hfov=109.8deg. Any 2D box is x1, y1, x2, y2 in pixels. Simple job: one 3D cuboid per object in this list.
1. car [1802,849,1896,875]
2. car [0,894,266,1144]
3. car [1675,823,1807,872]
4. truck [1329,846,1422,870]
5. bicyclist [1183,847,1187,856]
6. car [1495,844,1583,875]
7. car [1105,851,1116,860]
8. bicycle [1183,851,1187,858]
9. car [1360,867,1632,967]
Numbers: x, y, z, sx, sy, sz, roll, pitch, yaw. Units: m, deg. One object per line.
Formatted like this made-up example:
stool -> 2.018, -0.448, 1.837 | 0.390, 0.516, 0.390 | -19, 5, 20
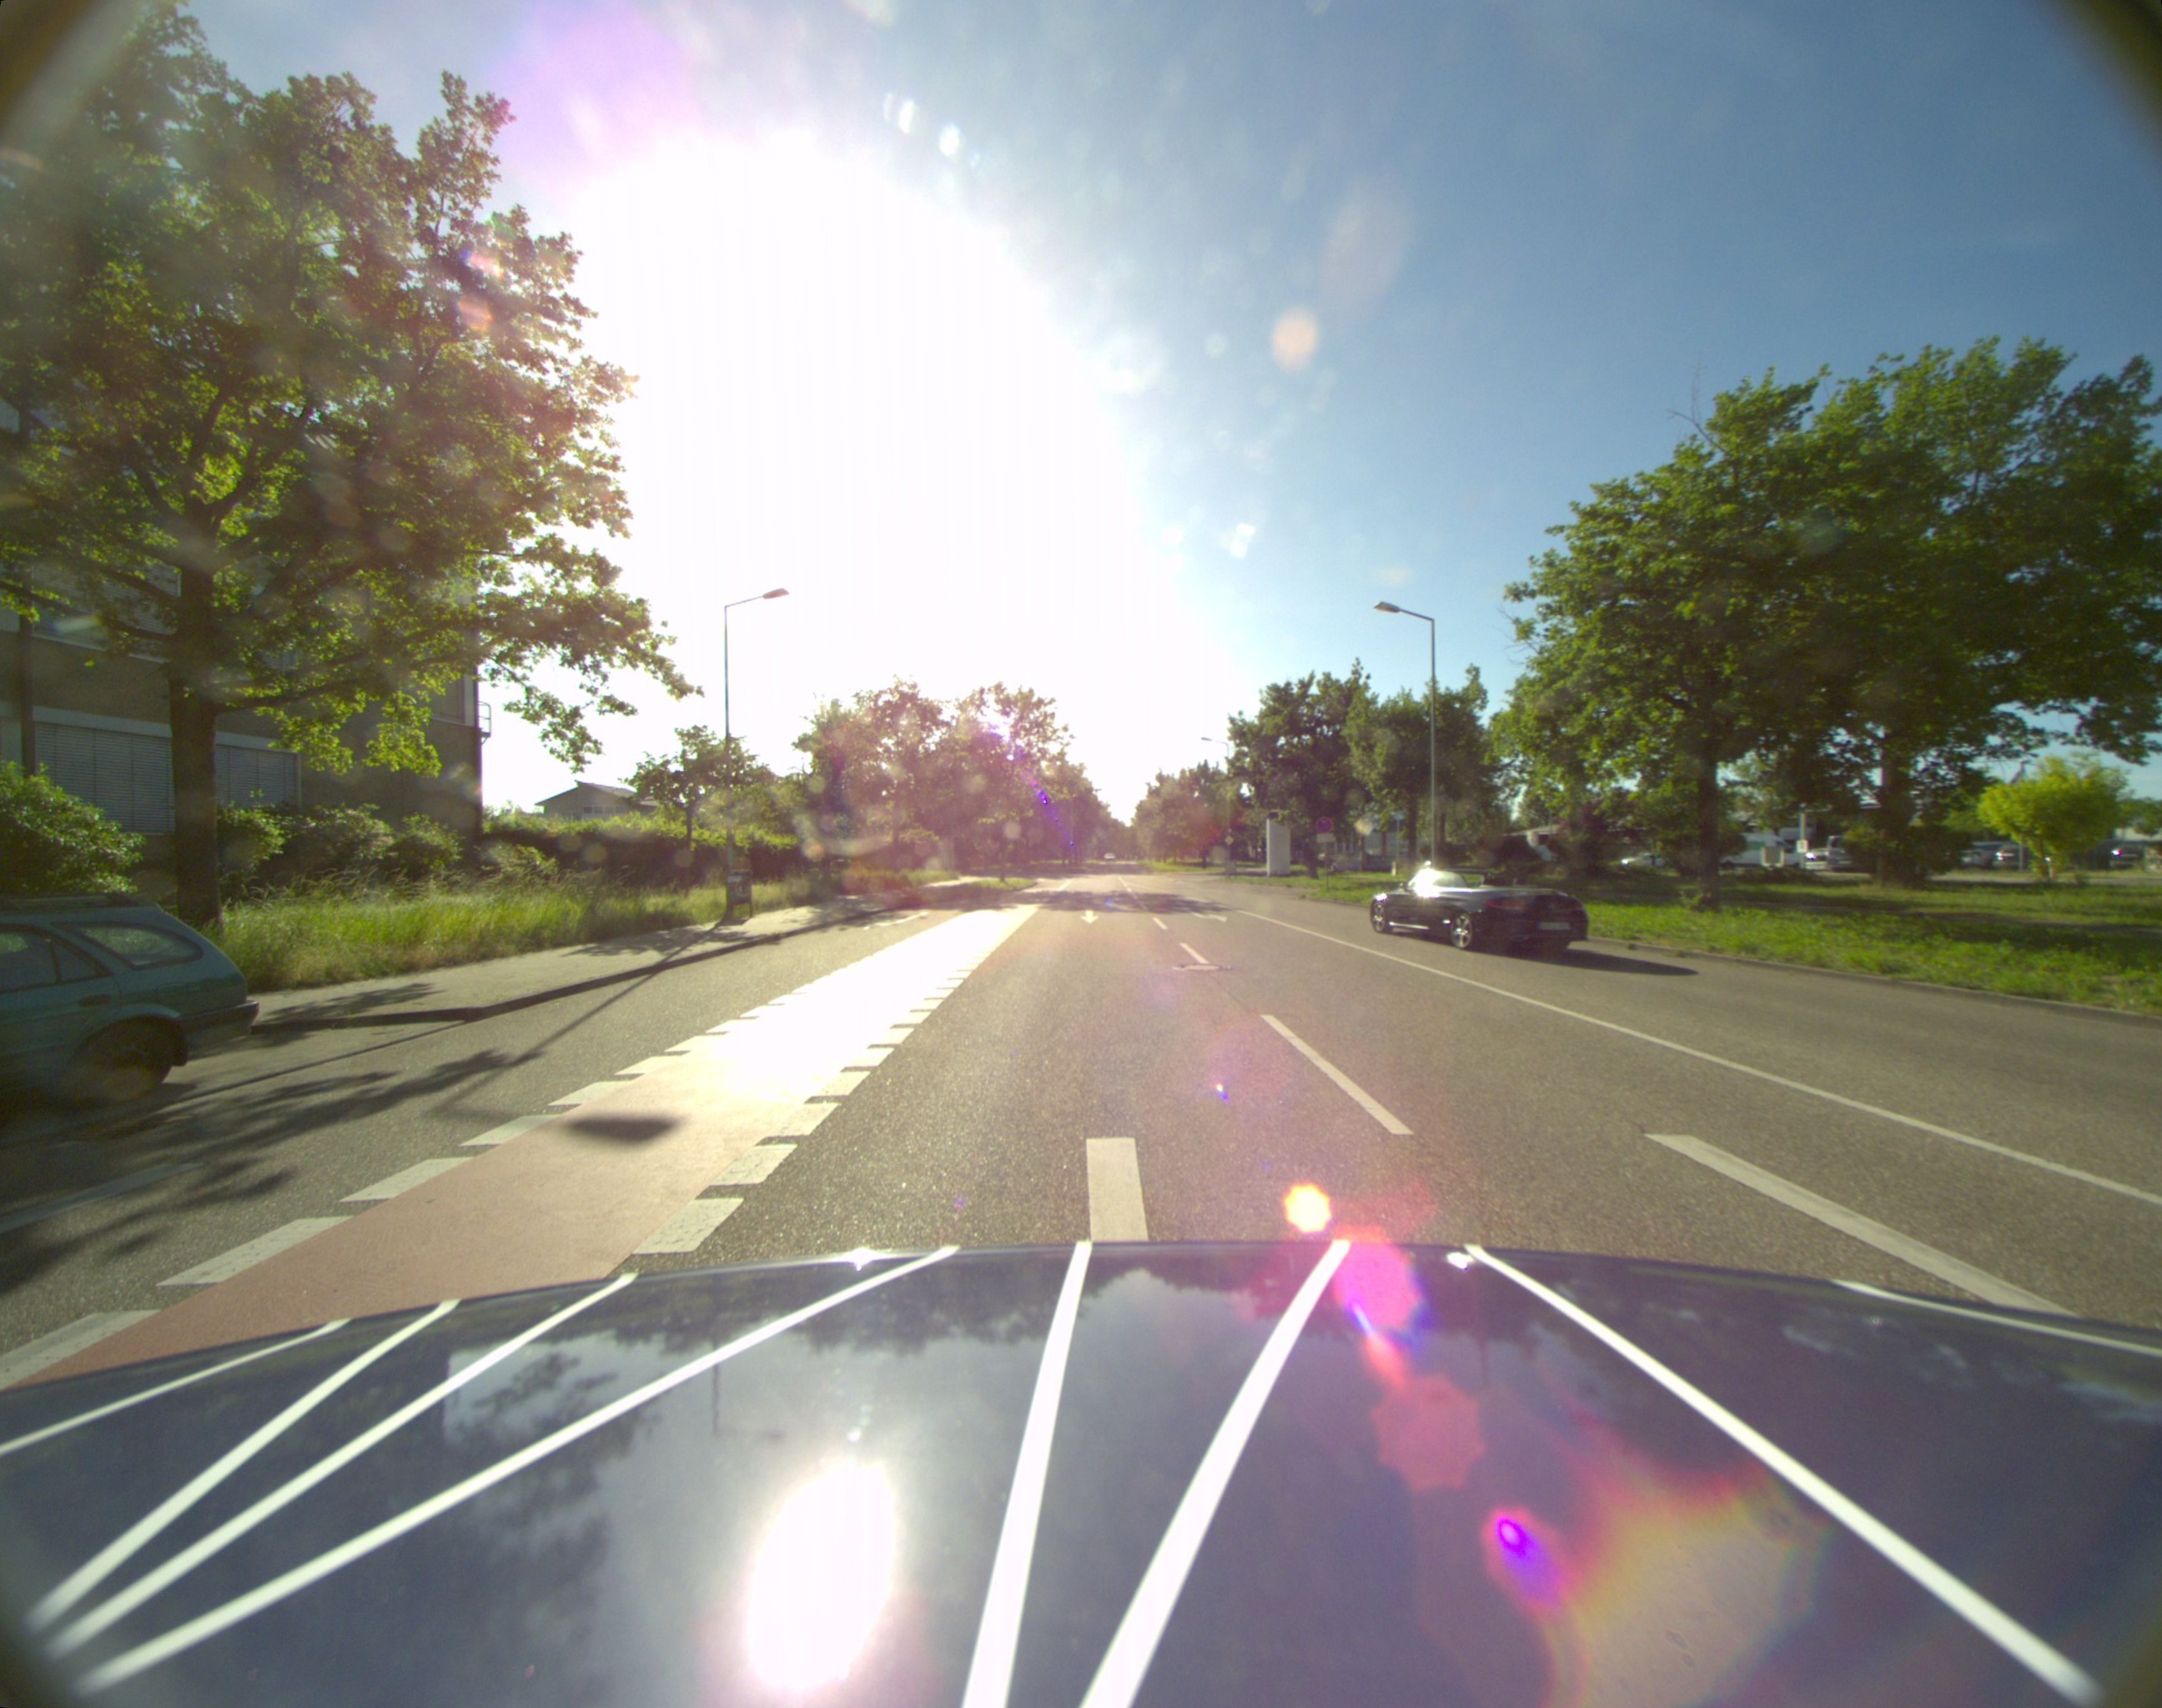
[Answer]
car -> 41.222, 0.420, 40.830 | 3.532, 1.294, 1.574 | -1, 0, -2
car -> -7.426, 1.065, 4.035 | 1.596, 1.420, 4.203 | 1, 1, 2
car -> 39.846, -0.401, 45.952 | 6.176, 2.687, 2.300 | -2, 1, -3
truck -> 25.257, 0.333, 65.307 | 7.130, 2.038, 2.140 | 0, 1, -2
bicyclist -> 18.549, -0.459, 135.958 | 0.665, 1.619, 0.659 | -2, 2, 3
car -> 39.895, 0.458, 66.234 | 6.356, 2.501, 2.300 | -2, 1, -3
car -> 5.380, 0.247, 137.324 | 1.827, 1.477, 3.999 | -2, 1, 1
bicycle -> 18.561, 0.118, 135.785 | 0.552, 1.155, 2.334 | -2, 1, 3
car -> 7.142, 1.006, 13.776 | 2.000, 1.394, 4.585 | 2, 0, -7
